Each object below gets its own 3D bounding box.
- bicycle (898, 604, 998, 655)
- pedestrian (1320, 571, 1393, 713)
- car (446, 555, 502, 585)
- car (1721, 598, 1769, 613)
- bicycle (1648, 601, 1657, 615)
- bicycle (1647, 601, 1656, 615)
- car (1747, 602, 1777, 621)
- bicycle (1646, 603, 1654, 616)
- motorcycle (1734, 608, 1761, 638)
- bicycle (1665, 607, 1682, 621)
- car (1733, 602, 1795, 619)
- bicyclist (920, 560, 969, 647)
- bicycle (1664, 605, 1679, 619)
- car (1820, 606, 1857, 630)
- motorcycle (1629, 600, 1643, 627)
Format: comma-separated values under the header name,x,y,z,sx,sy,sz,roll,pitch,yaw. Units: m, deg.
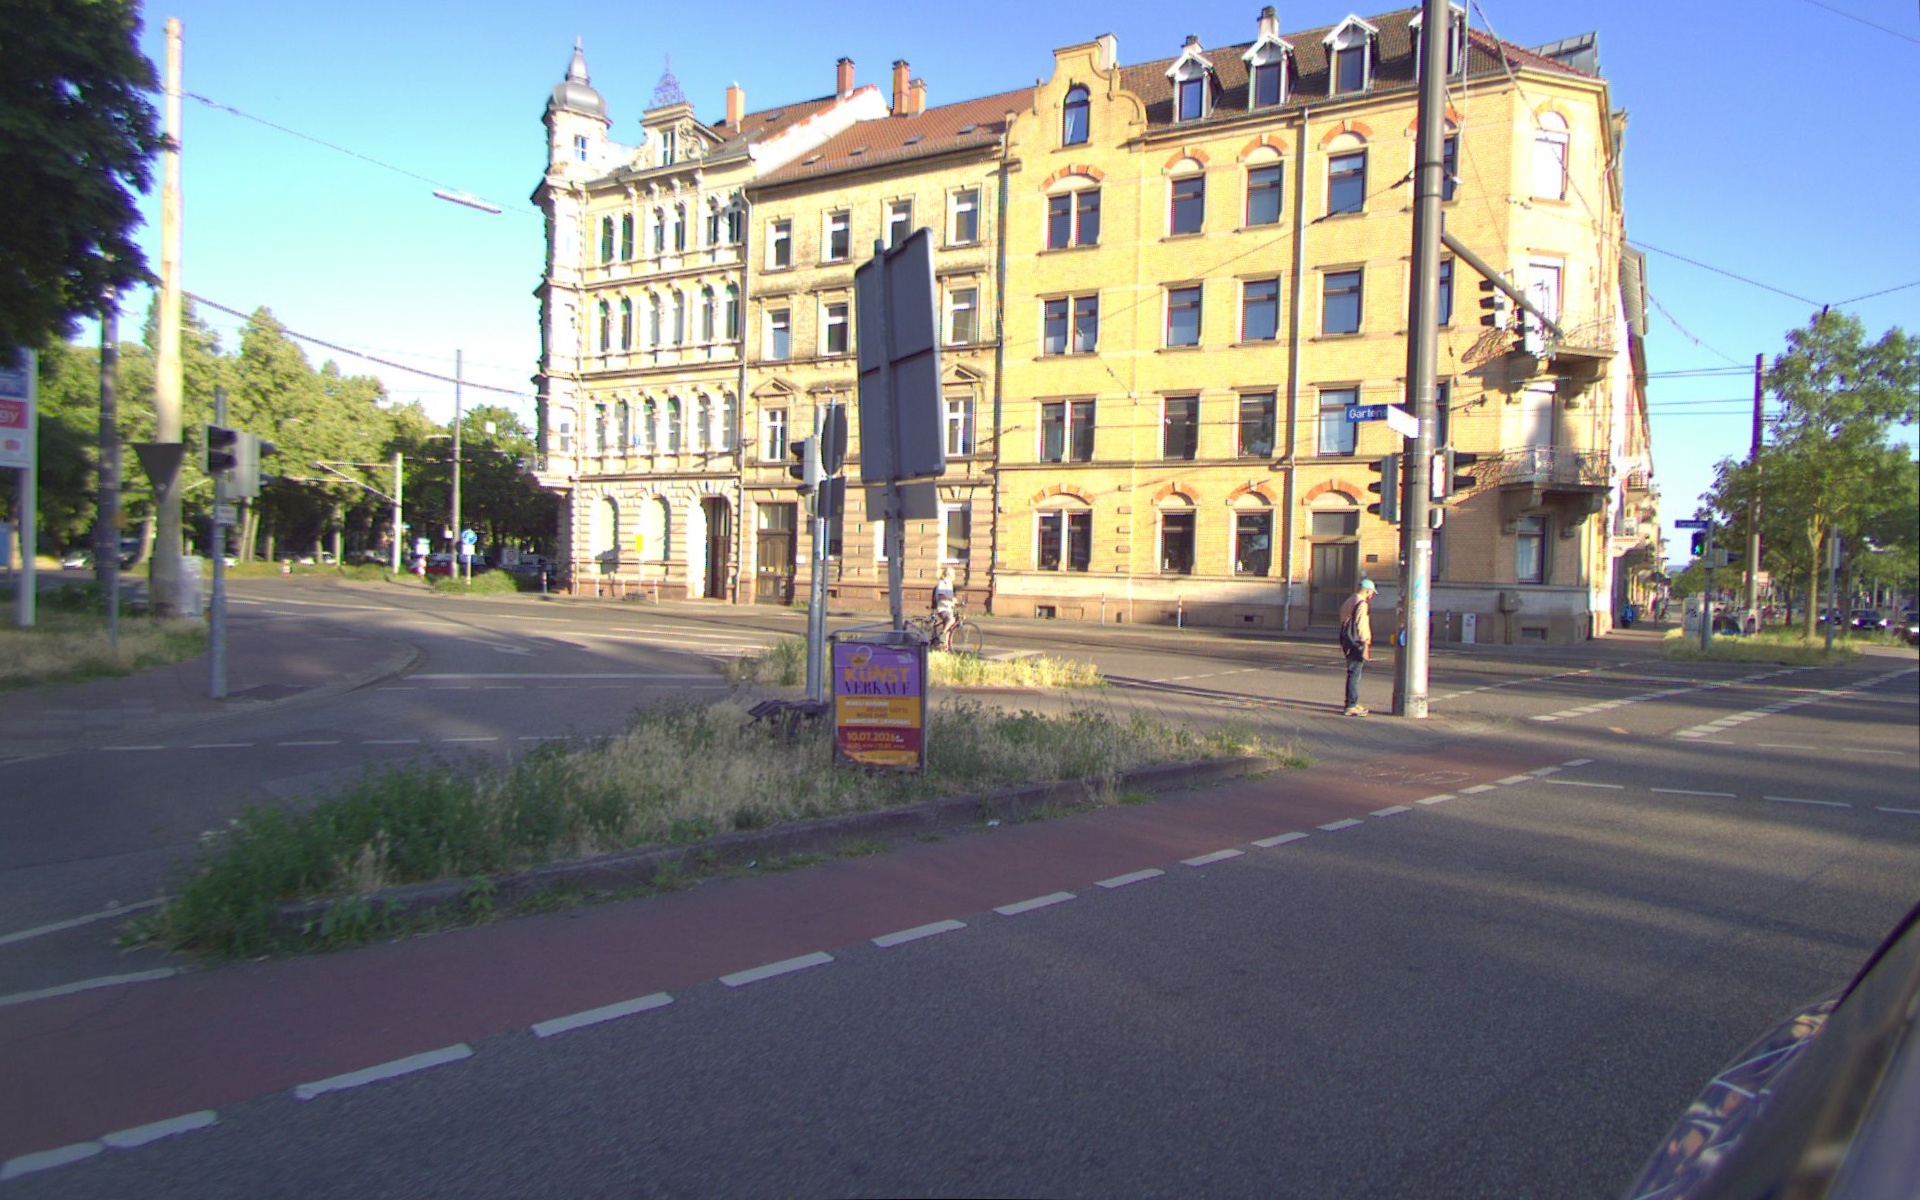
name,x,y,z,sx,sy,sz,roll,pitch,yaw
bicycle,-0.235,0.533,19.077,1.799,0.839,0.616,2,1,28
pedestrian,4.814,0.486,12.297,0.688,1.649,0.552,1,1,-44
car,-28.497,-1.768,59.474,1.786,1.638,4.006,2,1,-7
car,99.435,0.676,128.226,1.875,1.712,4.443,1,1,-18
bicycle,60.030,0.715,87.763,0.482,1.178,1.723,8,5,36
bicycle,58.930,0.672,86.240,0.482,1.178,1.723,8,5,36
car,64.156,0.894,81.038,1.699,1.467,4.232,-1,-1,36
bicycle,55.163,0.761,80.898,0.482,1.018,1.723,2,1,36
motorcycle,28.595,0.816,36.728,0.604,1.057,1.717,2,1,43
bicycle,50.130,0.991,71.127,0.870,0.927,2.056,4,3,38
car,77.983,0.965,98.210,1.959,1.591,4.350,1,0,-21
bicyclist,-0.290,0.053,19.102,0.689,1.603,0.631,2,1,28
bicycle,51.502,0.852,73.254,0.733,0.960,2.306,4,2,39
car,68.462,1.395,78.877,1.994,1.685,3.938,3,2,43
motorcycle,32.363,0.624,48.433,0.552,1.229,2.047,0,0,34
